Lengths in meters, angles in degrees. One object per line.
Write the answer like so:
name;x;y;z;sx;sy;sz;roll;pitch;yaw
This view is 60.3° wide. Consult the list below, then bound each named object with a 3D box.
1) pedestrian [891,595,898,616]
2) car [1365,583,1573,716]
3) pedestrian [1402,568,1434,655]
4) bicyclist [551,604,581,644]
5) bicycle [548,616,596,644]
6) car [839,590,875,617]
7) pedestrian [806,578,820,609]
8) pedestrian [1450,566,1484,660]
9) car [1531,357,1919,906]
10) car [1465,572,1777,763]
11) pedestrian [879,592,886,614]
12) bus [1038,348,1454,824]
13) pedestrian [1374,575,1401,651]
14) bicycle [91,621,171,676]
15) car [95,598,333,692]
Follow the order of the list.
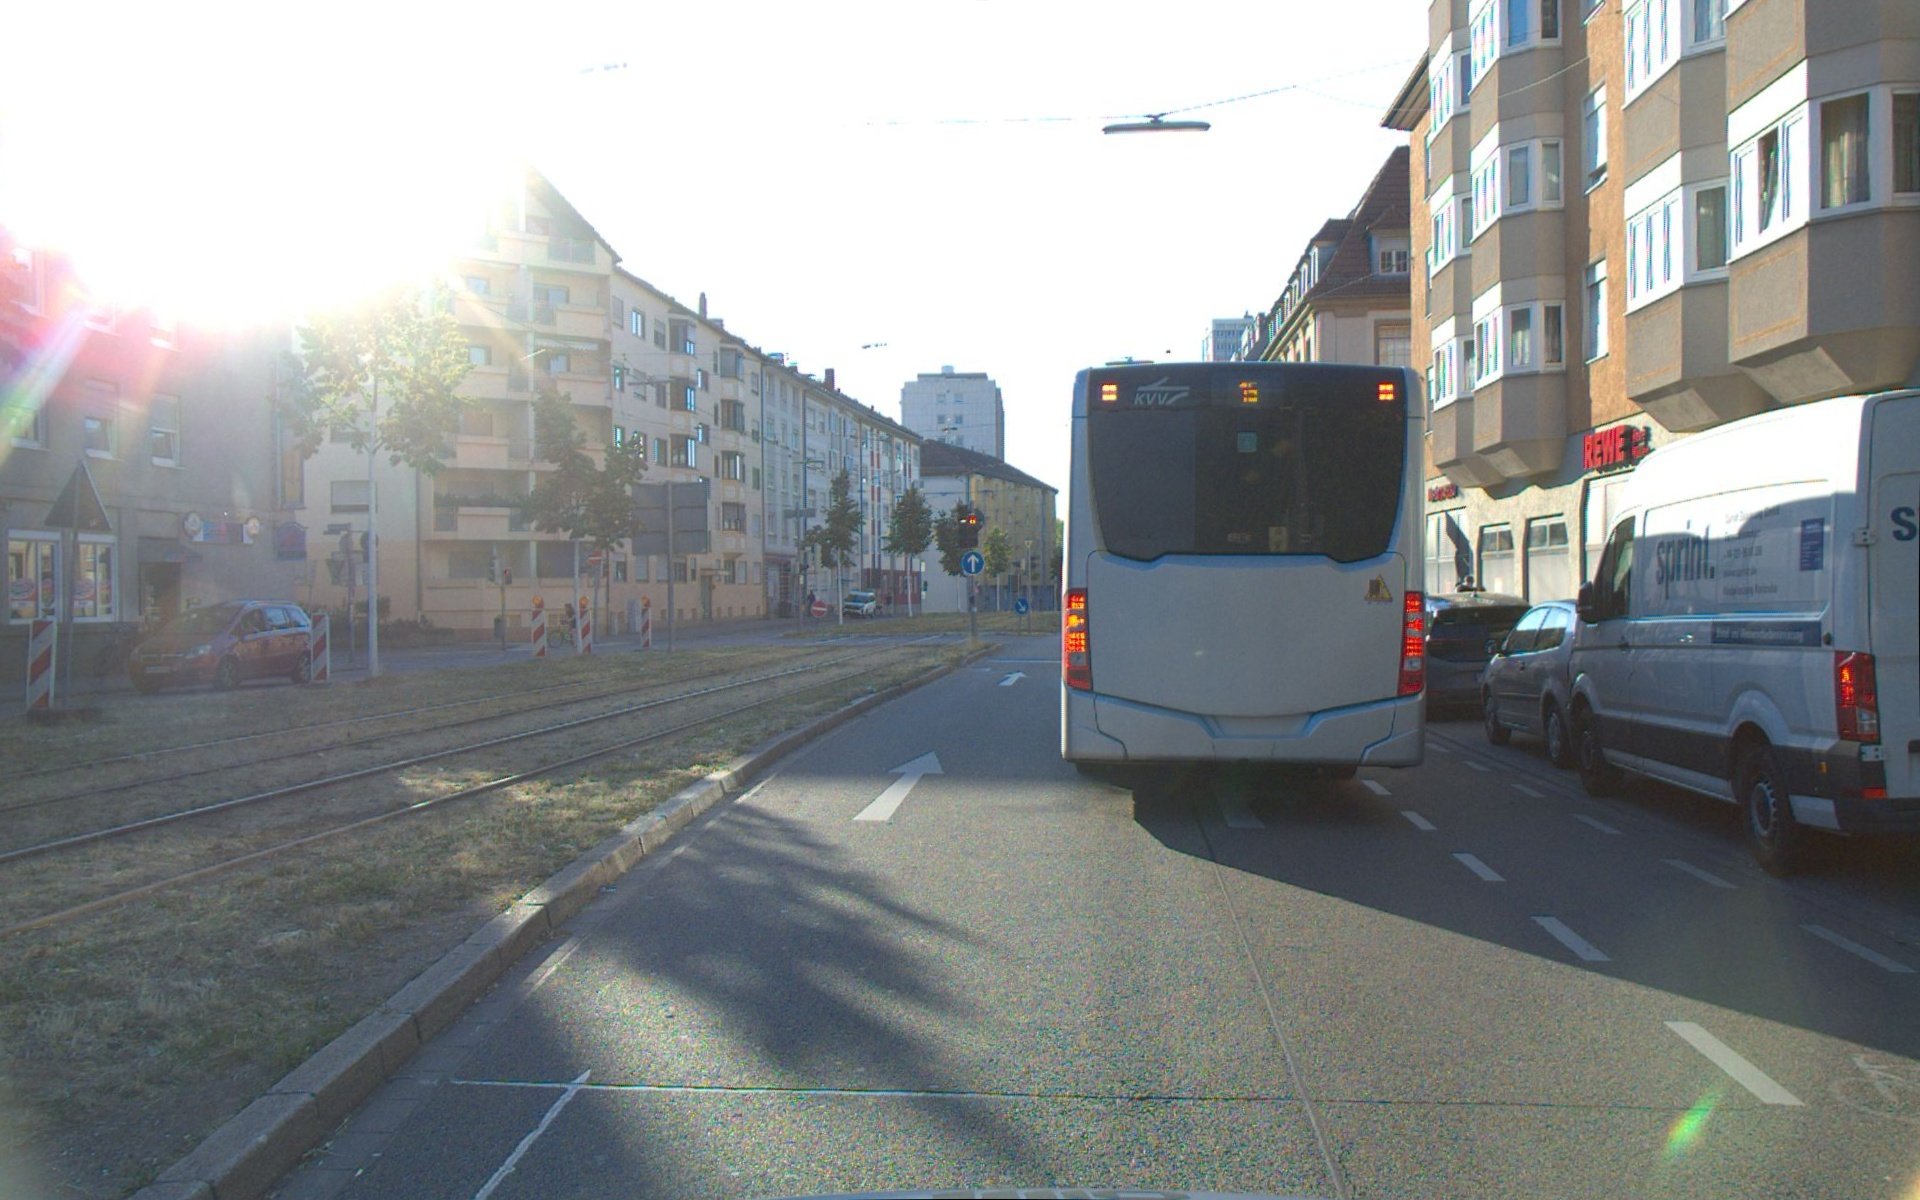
pedestrian;-5.186;0.419;130.949;0.485;1.687;0.409;-1;0;6
car;6.610;0.589;21.908;1.799;1.563;4.232;-1;0;6
pedestrian;9.605;0.238;34.700;0.535;1.815;0.450;-1;0;5
bicyclist;-14.641;0.891;61.405;0.519;1.472;0.962;-1;0;36
bicycle;-14.443;1.112;61.640;0.519;1.001;1.876;-1;0;36
car;-7.293;0.237;117.511;1.773;1.829;4.248;-1;0;7
pedestrian;-9.826;-0.418;110.636;0.770;2.049;0.891;-1;0;2
pedestrian;9.964;0.254;32.488;0.535;1.815;0.450;1;-1;5
car;5.525;0.086;10.706;1.974;2.595;5.788;-4;0;5
car;6.234;0.576;16.059;1.799;1.616;3.788;-1;0;6
pedestrian;-6.104;0.223;130.884;0.485;1.687;0.409;-1;0;6
bus;2.296;-0.124;15.325;2.681;3.109;8.859;1;0;5
pedestrian;10.253;0.313;39.674;0.536;1.815;0.449;-1;0;23
bicycle;-18.175;1.055;36.301;0.731;1.134;1.779;-1;0;5
car;-13.961;0.785;31.317;1.773;1.587;4.938;-1;0;7
